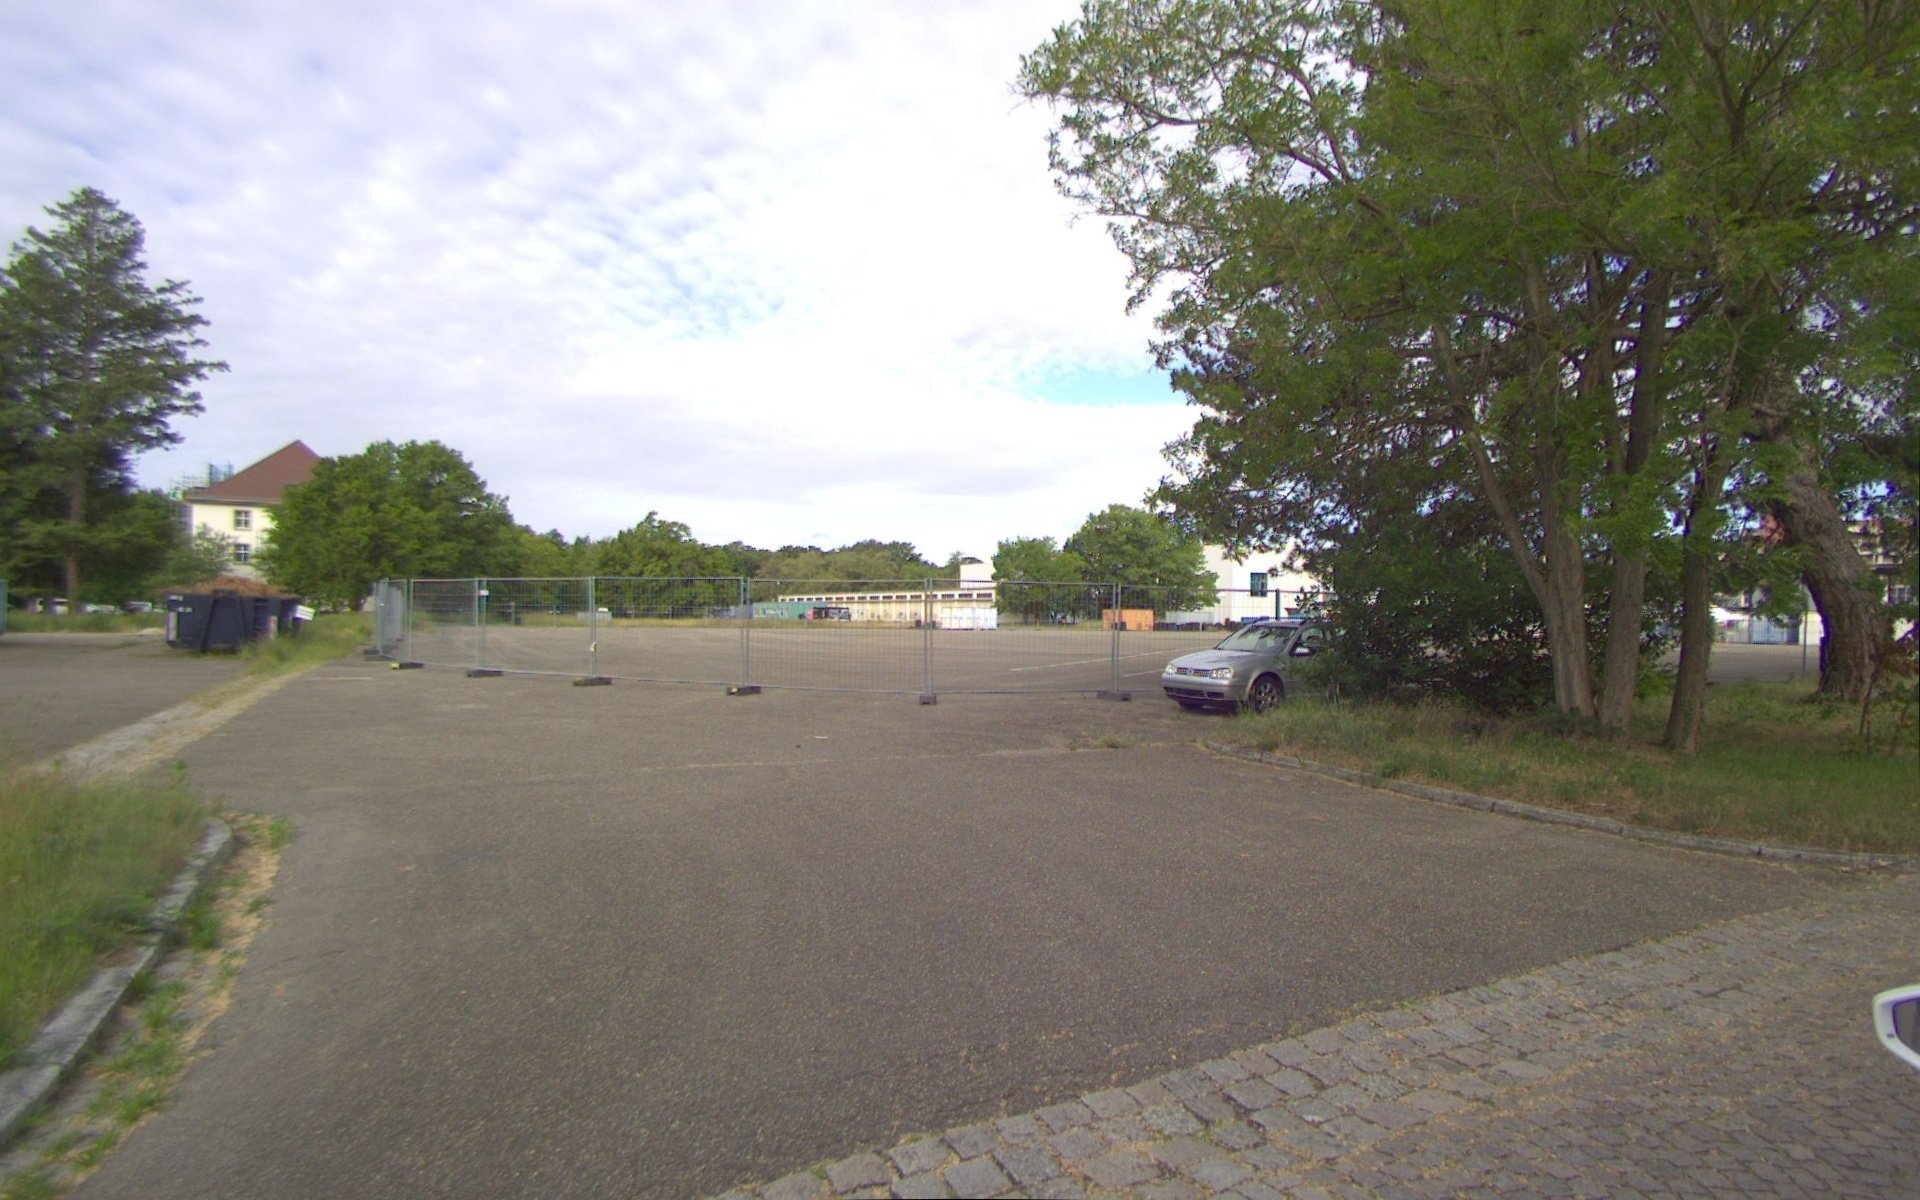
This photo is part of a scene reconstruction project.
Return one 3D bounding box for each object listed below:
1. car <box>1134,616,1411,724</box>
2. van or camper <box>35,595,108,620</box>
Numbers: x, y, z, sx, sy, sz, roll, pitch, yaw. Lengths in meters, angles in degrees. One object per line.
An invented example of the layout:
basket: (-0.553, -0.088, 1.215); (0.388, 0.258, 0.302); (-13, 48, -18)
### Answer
car: (5.072, 1.047, 16.172); (4.320, 1.496, 1.909); (1, -1, -32)
van or camper: (-91.103, 0.782, 103.068); (5.190, 2.496, 2.191); (1, -1, -31)
